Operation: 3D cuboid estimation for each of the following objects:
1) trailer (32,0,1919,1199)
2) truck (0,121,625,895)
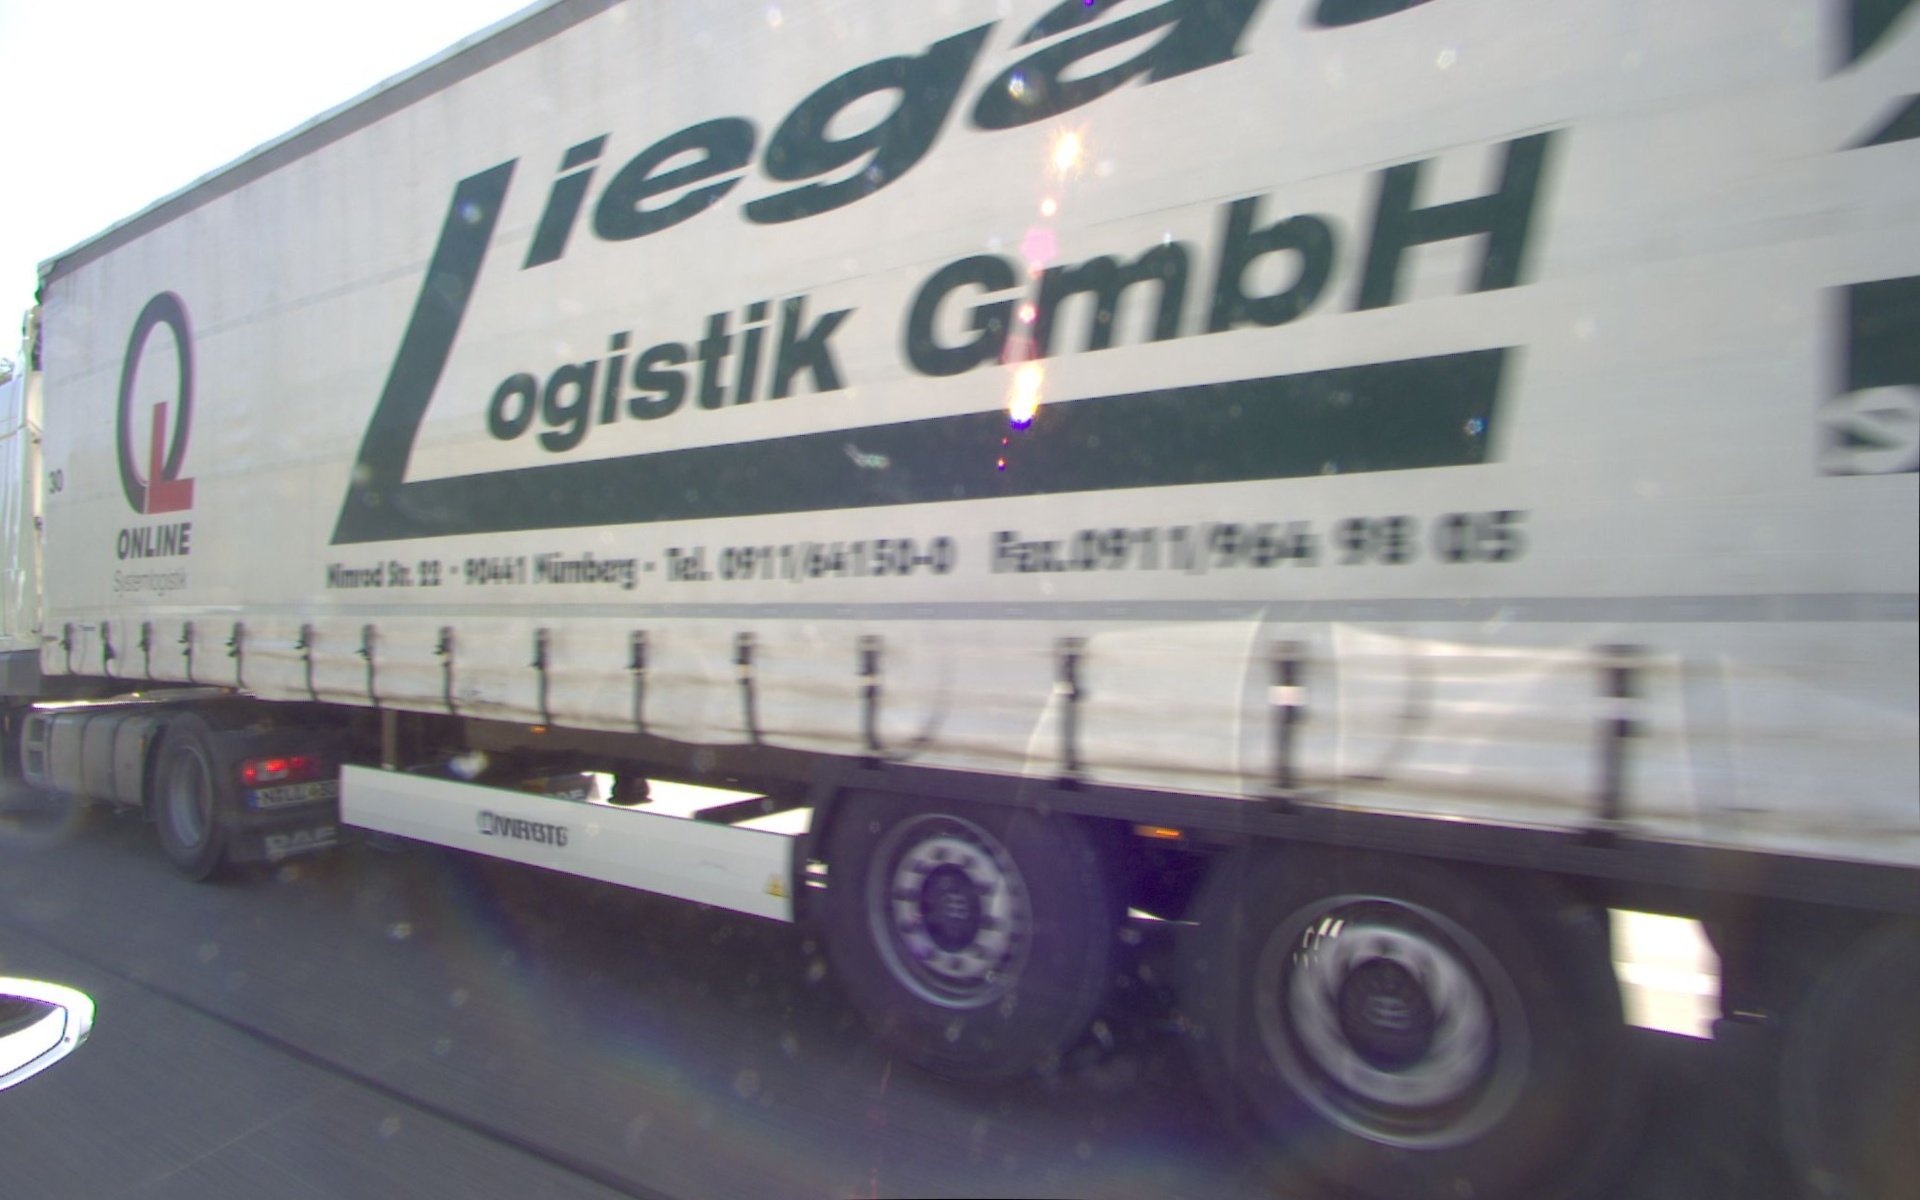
[{"bbox_3d":[-0.287,-0.495,4.681,13.054,4.259,2.781,0,-1,33],"label":"trailer"},{"bbox_3d":[-5.840,-0.470,8.264,5.786,4.259,2.781,0,-1,33],"label":"truck"}]
